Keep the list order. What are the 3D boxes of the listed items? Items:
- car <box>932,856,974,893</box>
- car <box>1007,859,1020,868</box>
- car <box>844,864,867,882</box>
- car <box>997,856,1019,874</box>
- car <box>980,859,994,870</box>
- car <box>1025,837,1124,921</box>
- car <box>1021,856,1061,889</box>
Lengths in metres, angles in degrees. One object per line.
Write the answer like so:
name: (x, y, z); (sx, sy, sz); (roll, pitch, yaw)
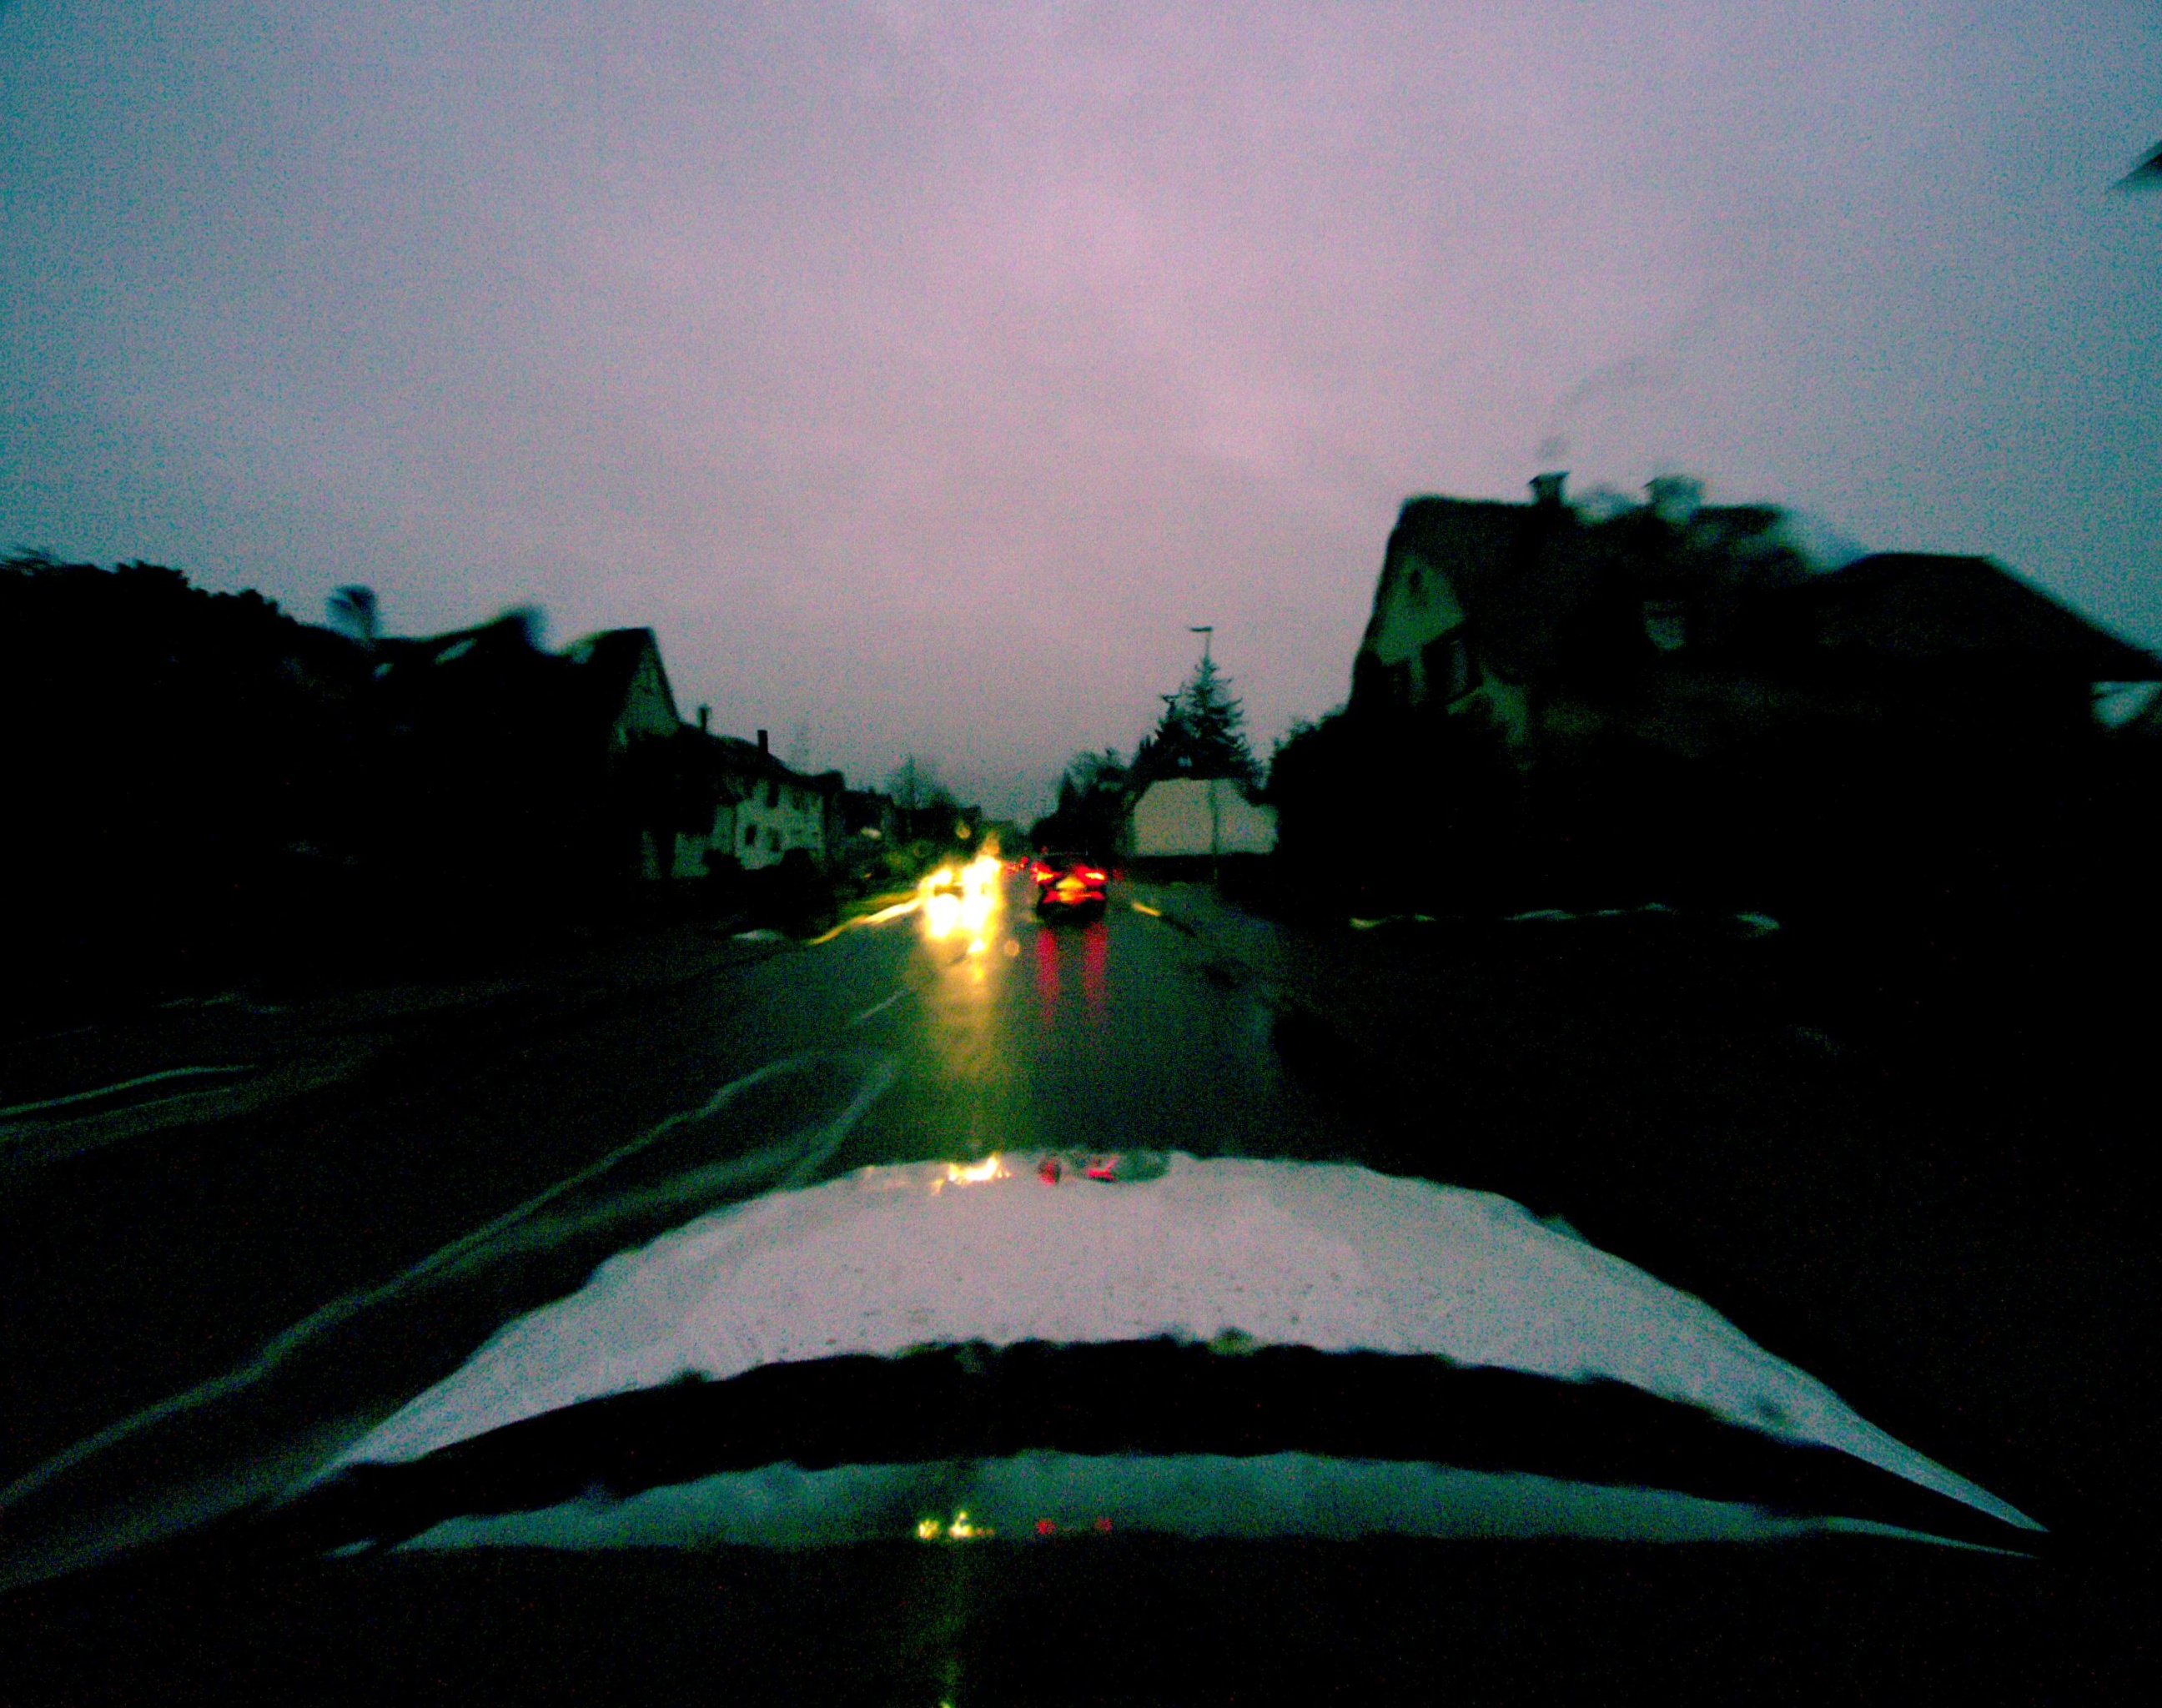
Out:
car: (-6.085, 0.951, 38.999); (1.822, 1.554, 3.988); (-3, 0, -8)
car: (-10.569, 1.538, 128.089); (1.838, 1.331, 3.932); (-3, 0, -4)
car: (-18.822, 1.566, 67.859); (1.781, 1.393, 3.976); (0, -1, -17)
car: (-8.782, 1.331, 97.253); (2.308, 1.938, 5.004); (-2, -1, -8)
car: (-14.543, 1.629, 126.367); (1.909, 1.522, 3.994); (-2, 1, -4)
car: (-0.235, 0.632, 22.071); (2.304, 1.938, 5.013); (-2, -1, -2)
car: (-2.295, 0.994, 45.598); (1.857, 1.647, 3.989); (-1, 0, -8)
